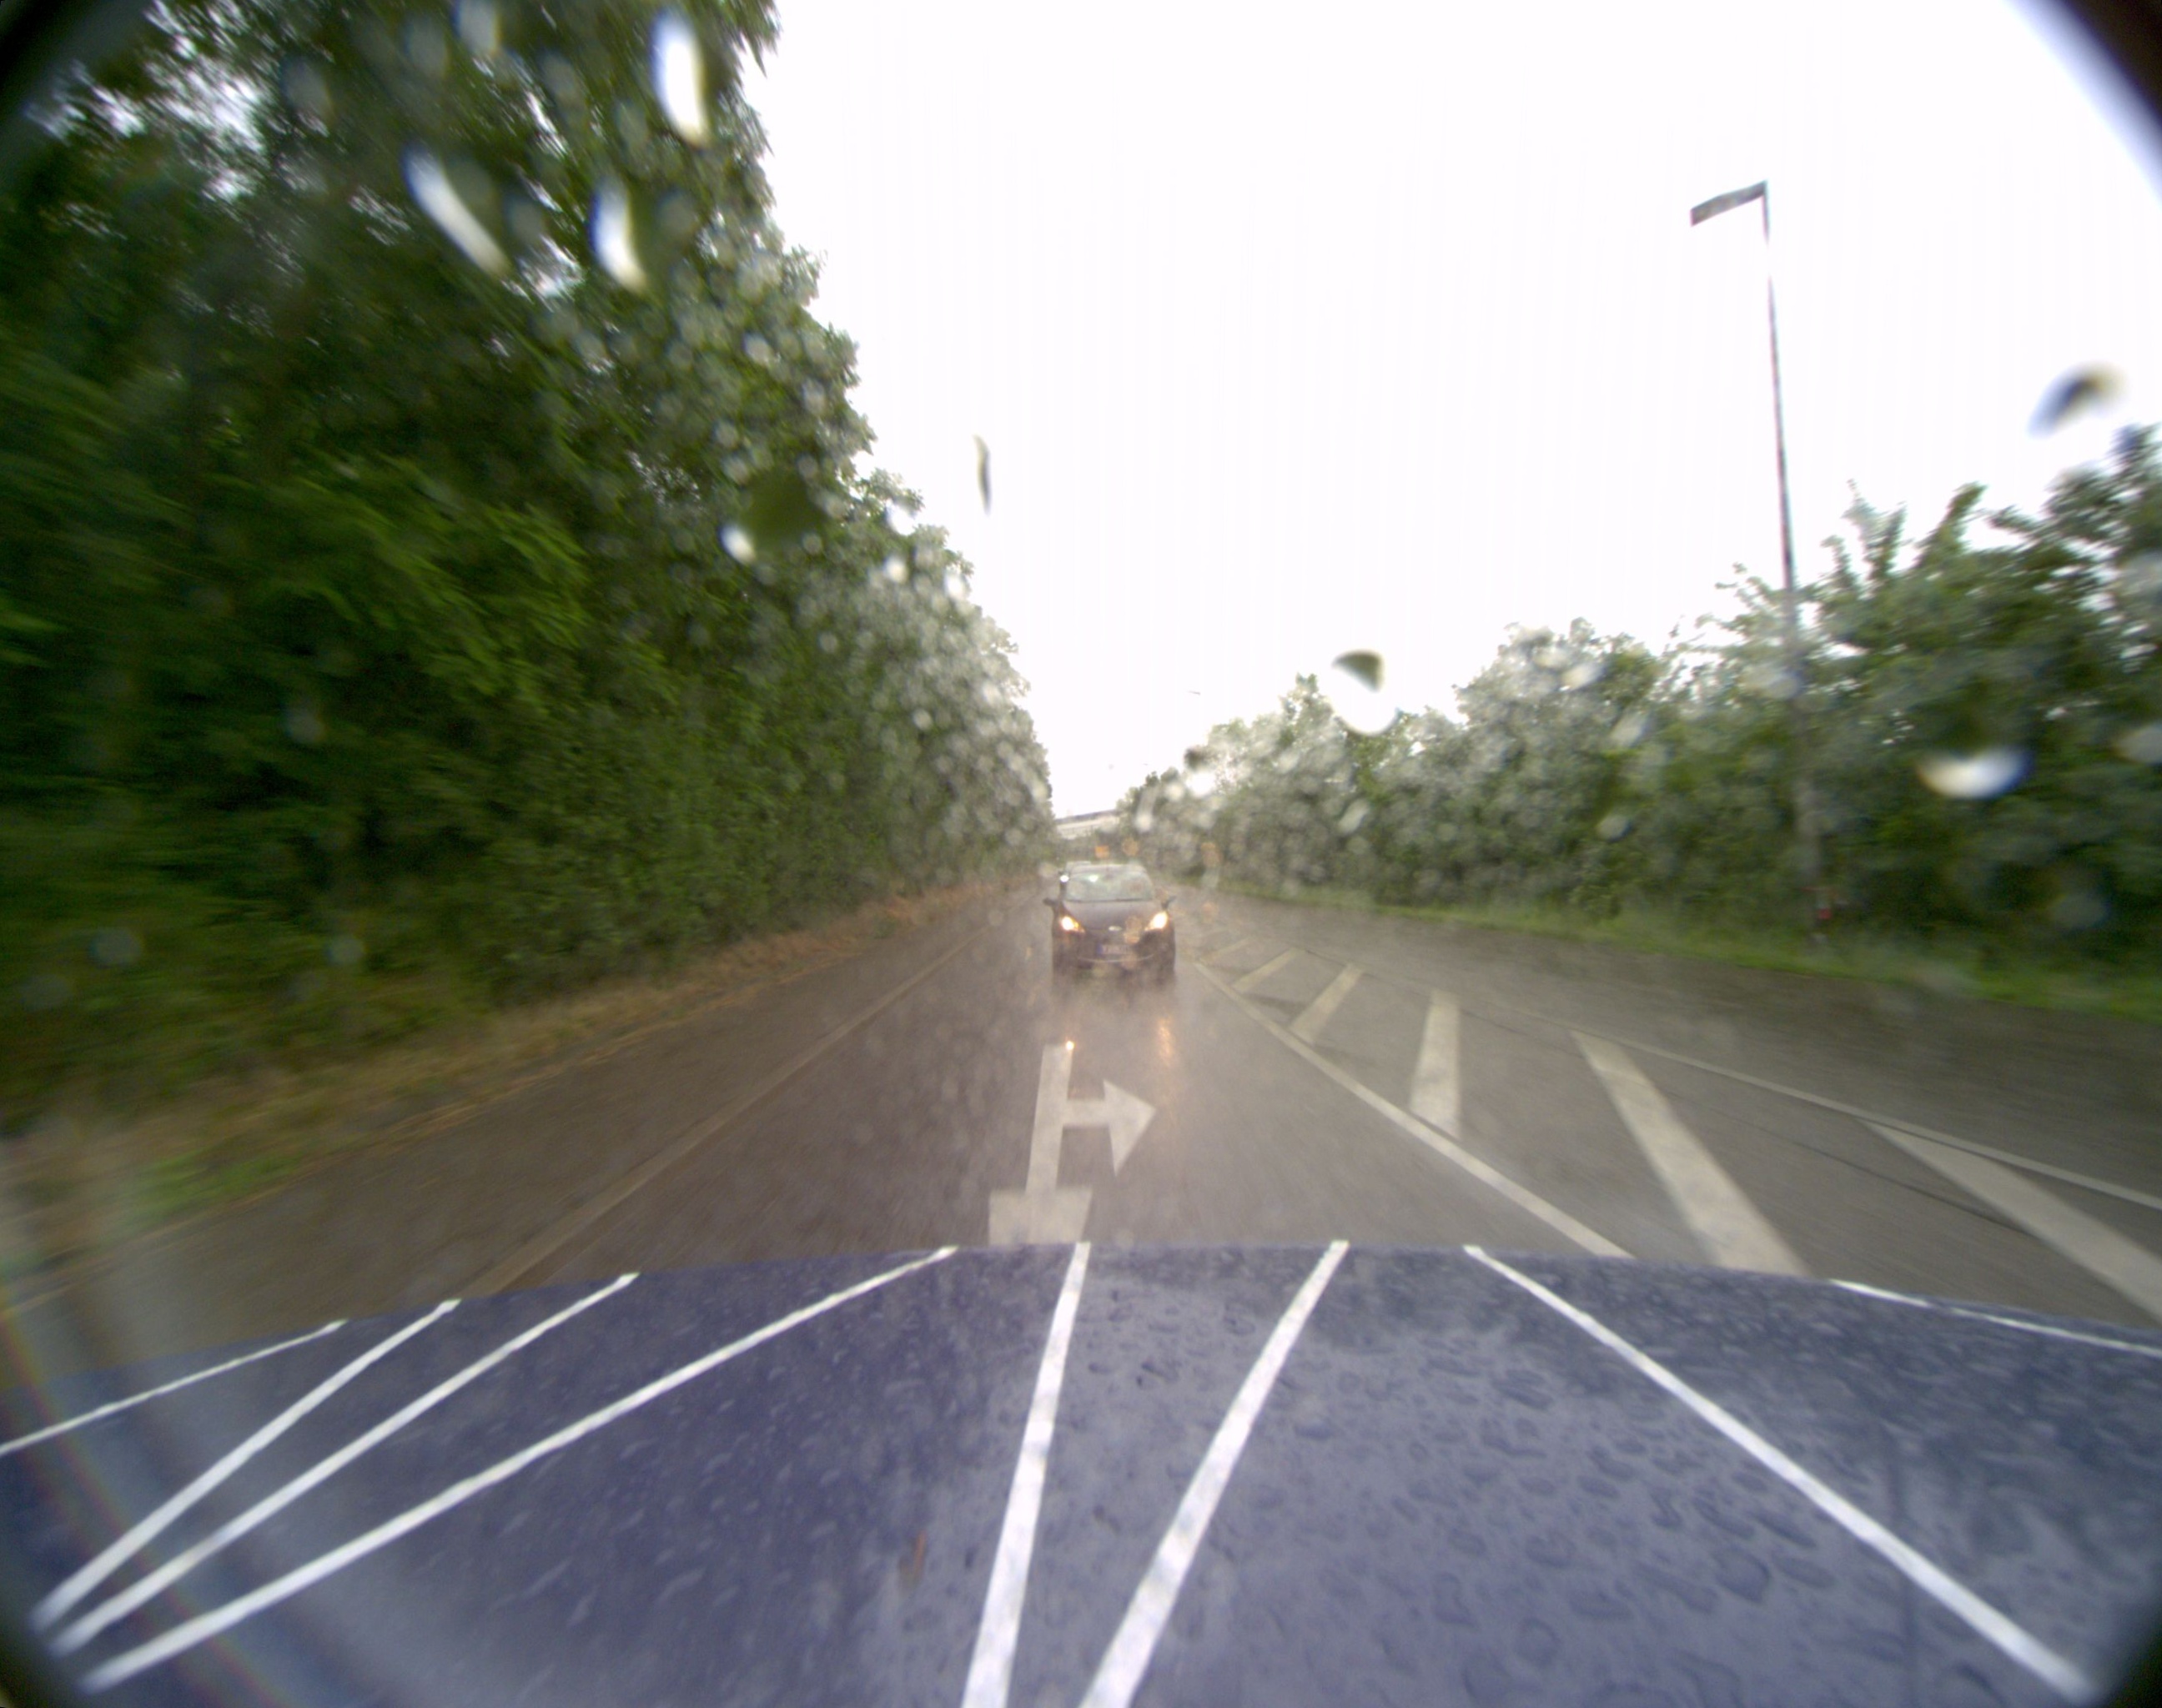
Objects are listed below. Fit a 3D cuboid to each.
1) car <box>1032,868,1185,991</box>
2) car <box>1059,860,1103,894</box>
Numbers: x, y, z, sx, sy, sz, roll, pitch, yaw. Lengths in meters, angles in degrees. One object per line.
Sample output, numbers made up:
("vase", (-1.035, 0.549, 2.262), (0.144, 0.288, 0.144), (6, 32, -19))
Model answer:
("car", (0.290, 0.992, 11.751), (1.874, 1.432, 4.377), (-2, -1, -2))
("car", (-0.040, 1.052, 35.870), (1.874, 1.432, 4.377), (-3, 0, -1))
